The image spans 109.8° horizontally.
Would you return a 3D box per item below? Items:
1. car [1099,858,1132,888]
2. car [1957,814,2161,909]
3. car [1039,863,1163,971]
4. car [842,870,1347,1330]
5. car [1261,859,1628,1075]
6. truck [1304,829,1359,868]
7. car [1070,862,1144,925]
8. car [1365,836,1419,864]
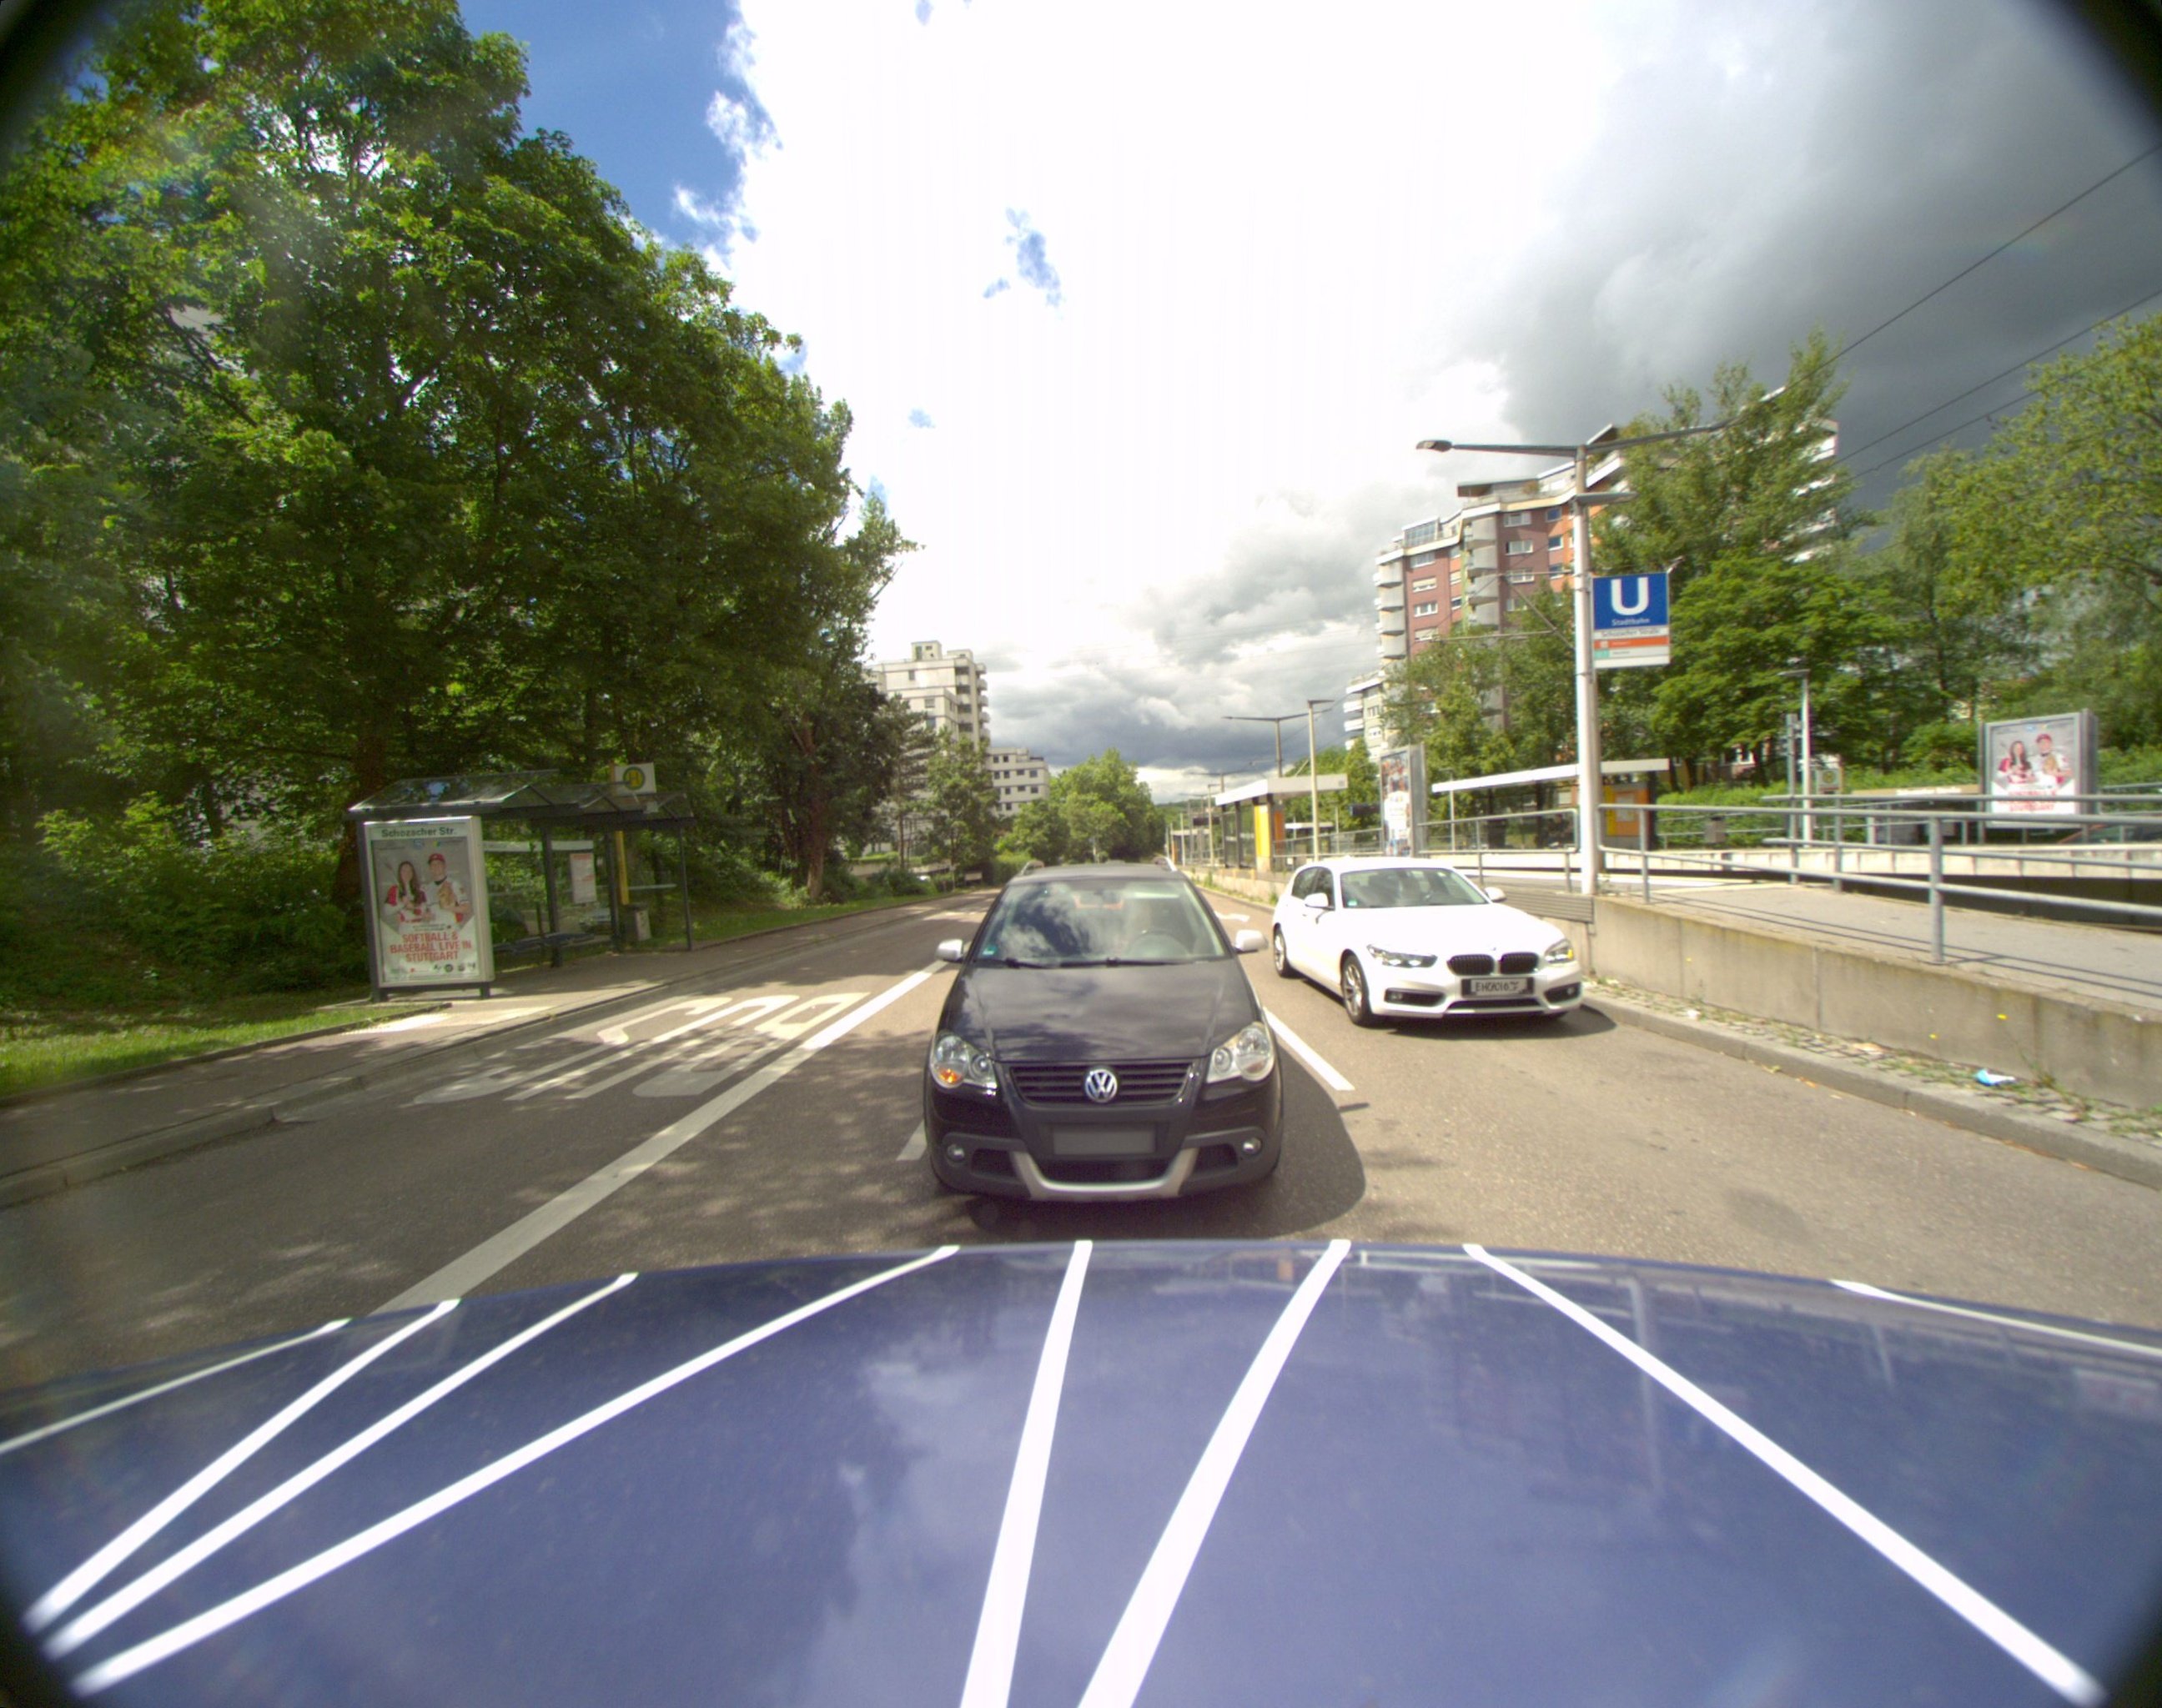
[{"bbox_3d":[1.914,1.034,43.473,1.732,1.505,4.000,-2,1,1],"label":"car"},{"bbox_3d":[19.500,0.104,13.856,1.998,1.625,4.461,-1,0,2],"label":"car"},{"bbox_3d":[0.326,0.933,12.928,1.732,1.453,4.000,-2,0,1],"label":"car"},{"bbox_3d":[0.083,0.921,4.698,1.732,1.501,4.000,-2,0,1],"label":"car"},{"bbox_3d":[3.121,0.839,7.532,1.732,1.453,4.000,-2,1,1],"label":"car"},{"bbox_3d":[21.864,-0.422,66.704,2.420,3.203,7.263,-2,0,1],"label":"truck"},{"bbox_3d":[0.753,0.980,20.450,1.732,1.452,4.001,-2,0,3],"label":"car"},{"bbox_3d":[21.214,-0.261,52.010,1.998,1.791,4.510,-1,0,2],"label":"car"}]
